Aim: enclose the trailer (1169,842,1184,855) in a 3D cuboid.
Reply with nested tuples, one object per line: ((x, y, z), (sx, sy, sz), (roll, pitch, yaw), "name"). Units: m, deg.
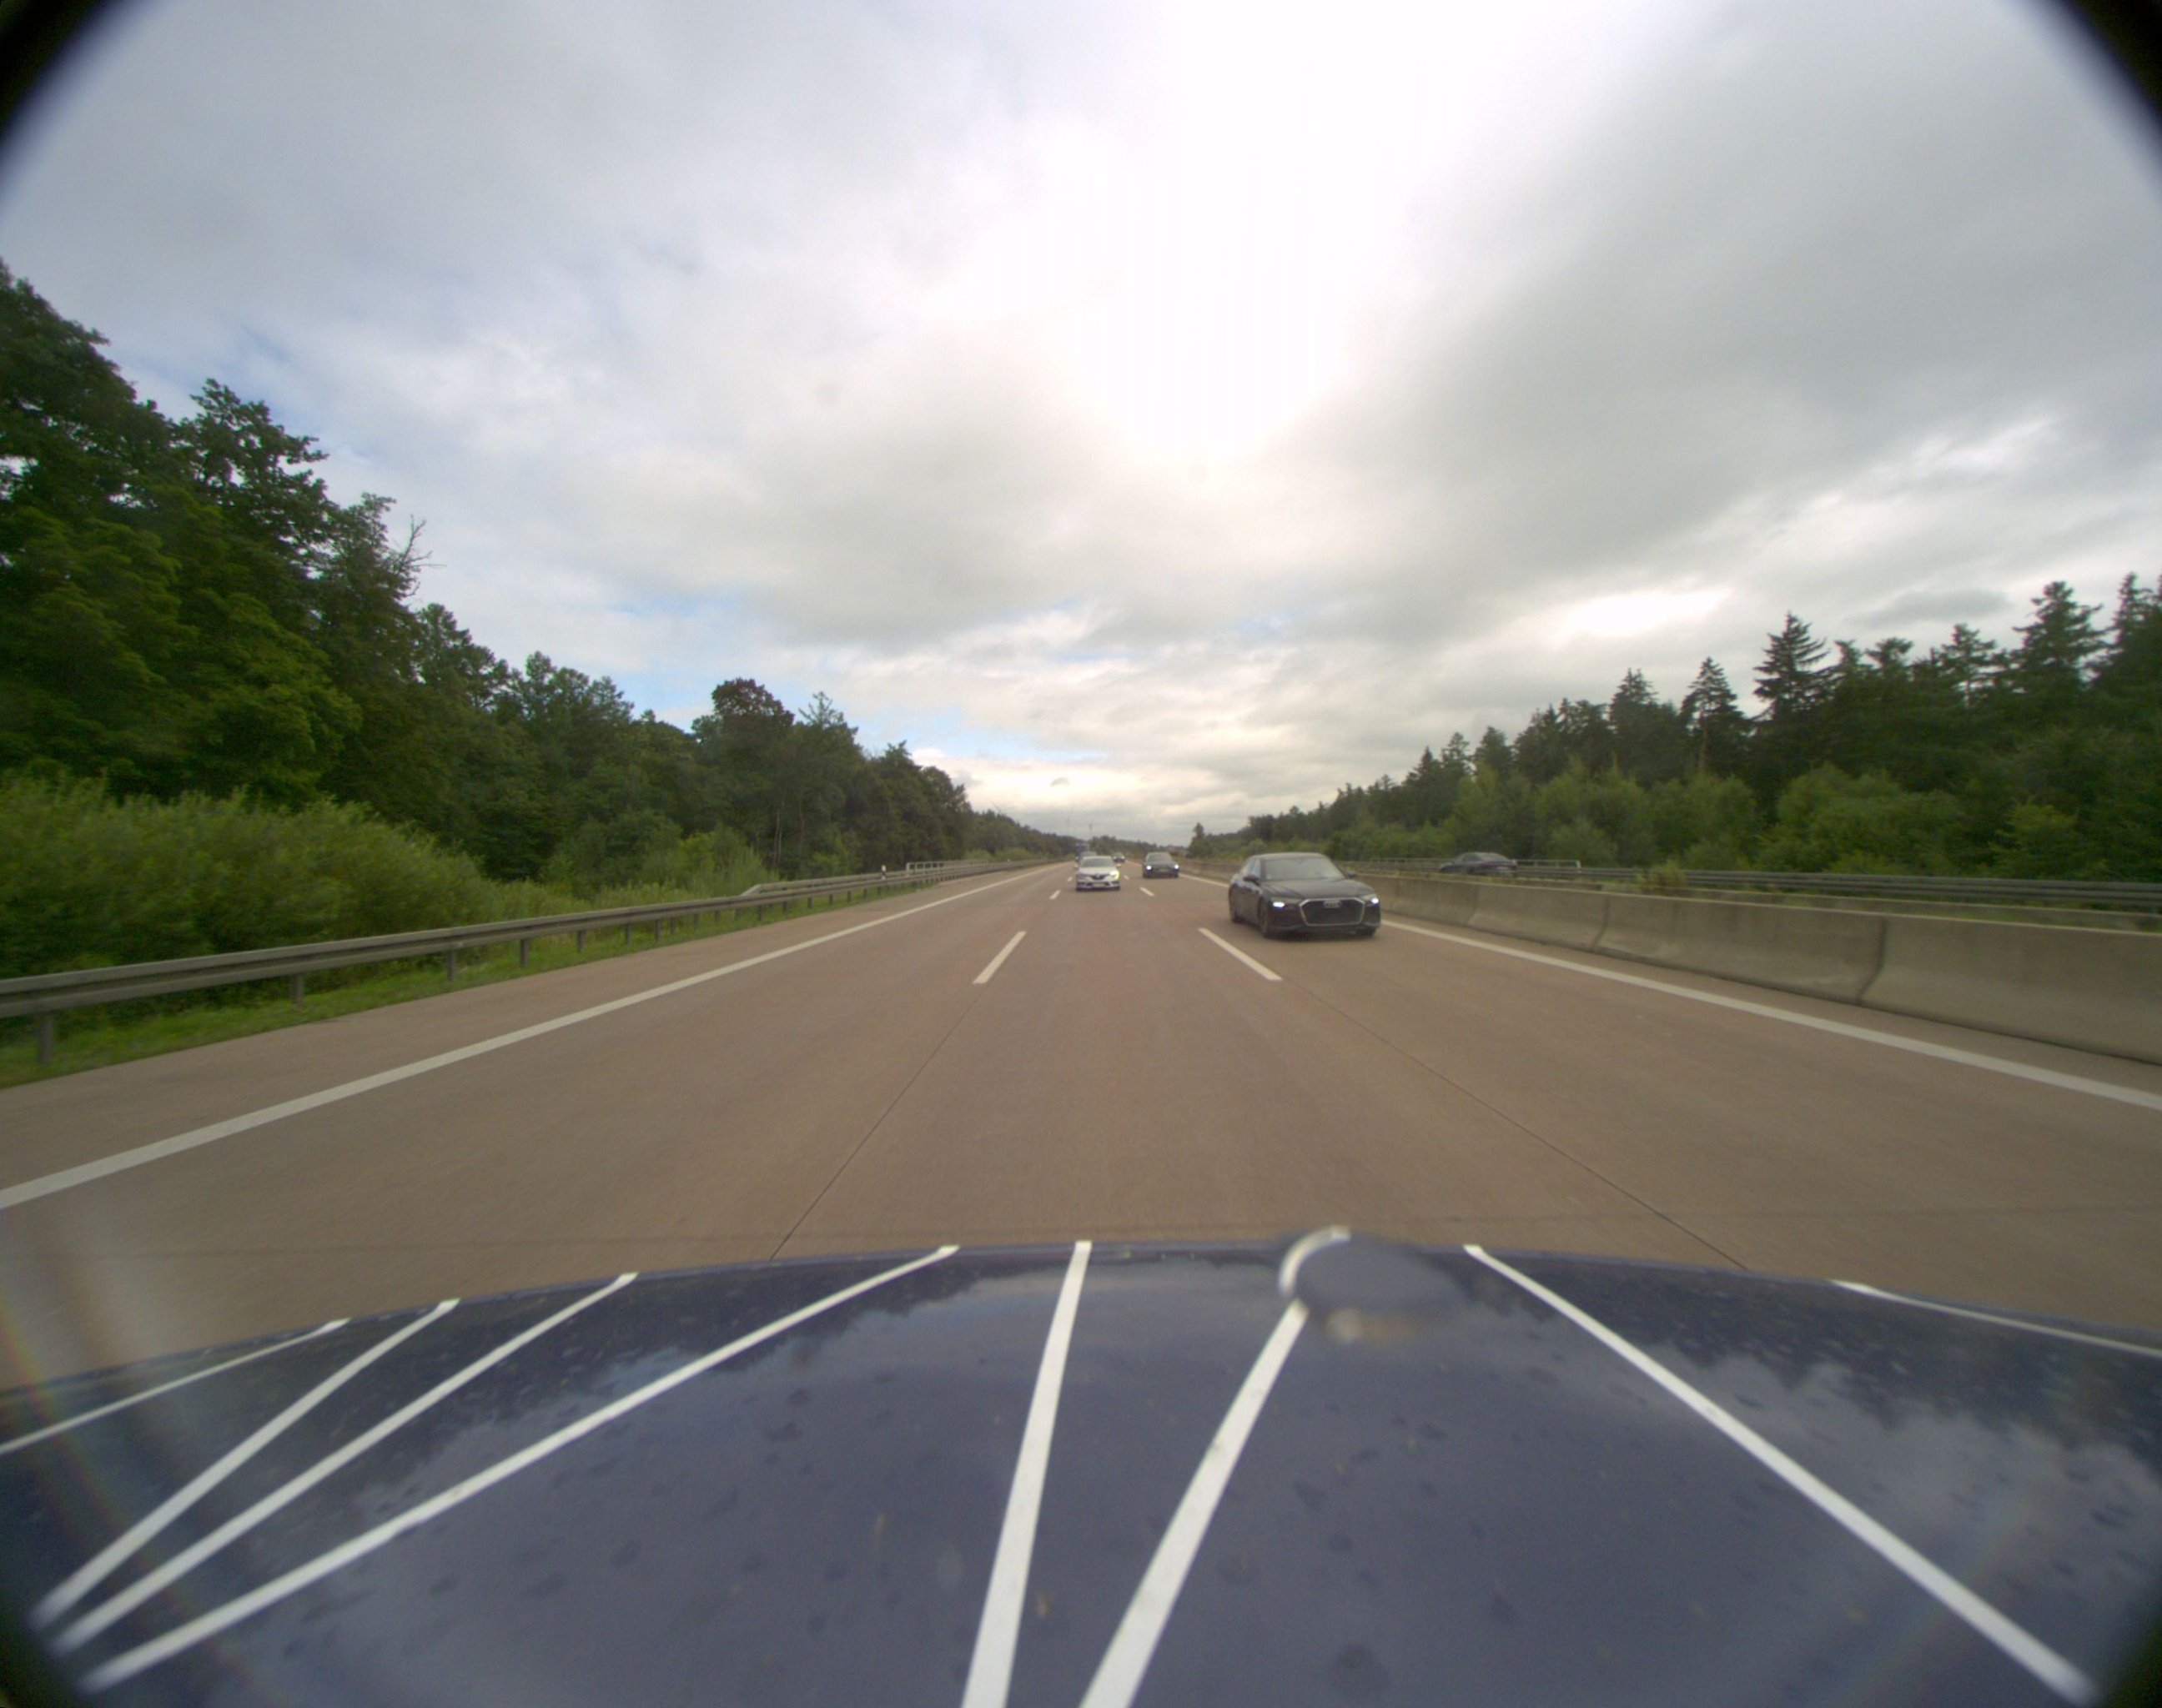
((27.060, -1.507, 216.069), (2.941, 3.399, 13.271), (-2, 0, 2), "trailer")

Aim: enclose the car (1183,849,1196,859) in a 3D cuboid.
((24.517, 0.035, 171.702), (2.260, 2.002, 5.269), (-4, 0, 2), "car")

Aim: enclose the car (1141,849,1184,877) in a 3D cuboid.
((4.821, 0.489, 45.711), (2.064, 1.483, 5.452), (-2, 1, 1), "car")

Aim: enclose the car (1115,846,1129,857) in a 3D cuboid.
((6.590, -0.464, 122.310), (1.998, 1.689, 5.252), (-2, 1, 1), "car")

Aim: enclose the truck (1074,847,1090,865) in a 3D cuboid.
((0.275, 0.398, 164.179), (2.956, 3.705, 7.949), (-5, 0, 1), "truck")

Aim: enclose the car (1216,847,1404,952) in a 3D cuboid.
((4.028, 0.680, 14.525), (2.090, 1.541, 5.675), (-2, 0, 3), "car")

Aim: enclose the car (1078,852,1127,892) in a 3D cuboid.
((0.962, 0.709, 32.297), (1.923, 1.516, 4.000), (-2, 0, 3), "car")

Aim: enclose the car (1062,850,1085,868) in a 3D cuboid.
((-0.635, 0.416, 69.793), (1.986, 1.499, 4.052), (-2, 1, 1), "car")

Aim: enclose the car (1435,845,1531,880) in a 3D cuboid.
((19.938, 0.383, 37.985), (2.129, 1.582, 5.197), (-1, 0, 1), "car")
